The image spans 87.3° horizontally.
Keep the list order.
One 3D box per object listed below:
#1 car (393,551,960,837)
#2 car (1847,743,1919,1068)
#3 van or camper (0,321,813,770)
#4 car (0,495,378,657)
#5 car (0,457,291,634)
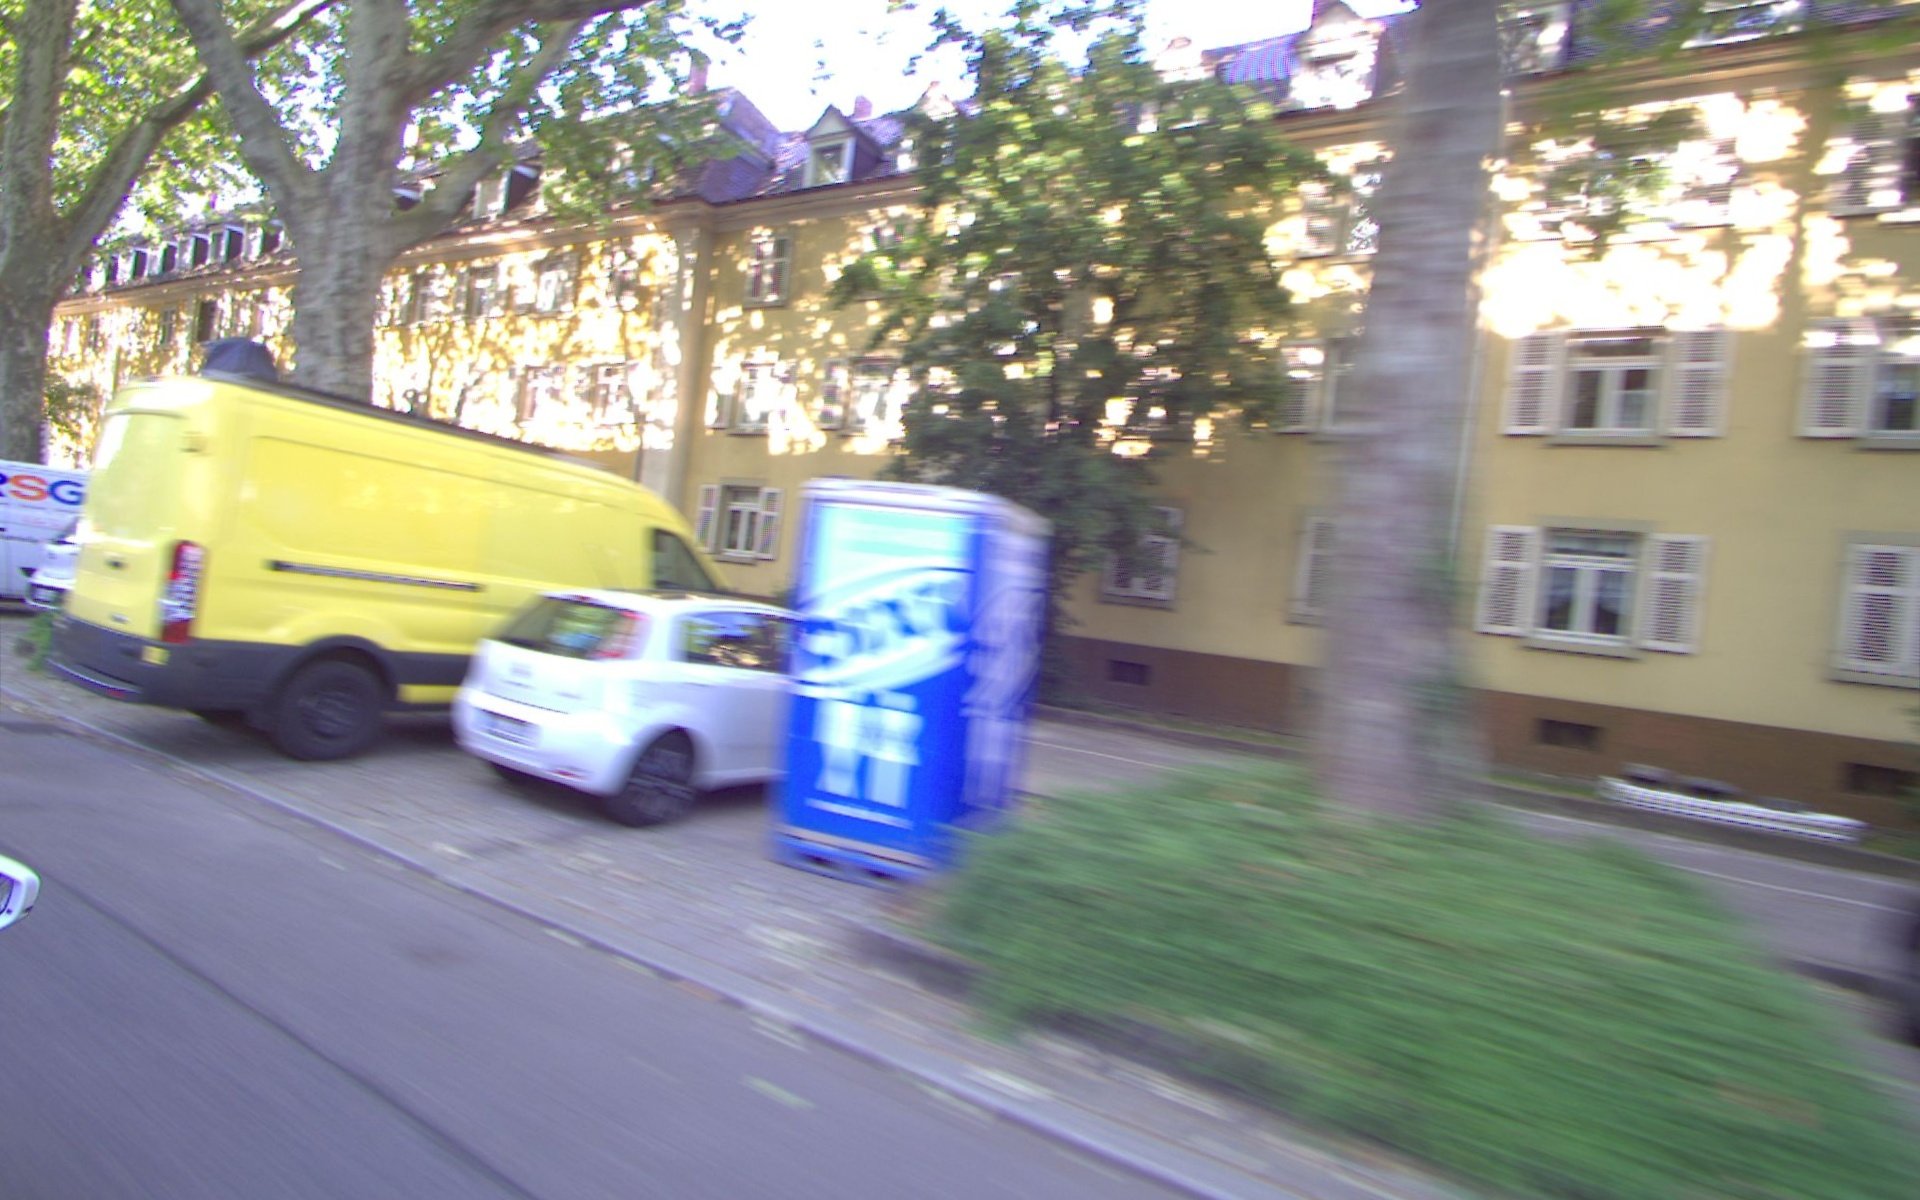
[{"bbox_3d":[-1.901,0.673,7.863,1.833,1.507,3.910,7,-1,33],"label":"car"},{"bbox_3d":[4.893,1.478,3.539,1.707,1.444,3.659,7,0,28],"label":"car"},{"bbox_3d":[-4.259,-0.153,9.024,2.234,2.660,5.932,5,-2,33],"label":"van or camper"},{"bbox_3d":[-9.559,-0.221,12.714,1.669,1.558,3.311,7,-1,30],"label":"car"},{"bbox_3d":[-12.384,-0.787,13.776,2.029,2.037,4.842,7,-1,31],"label":"car"}]
